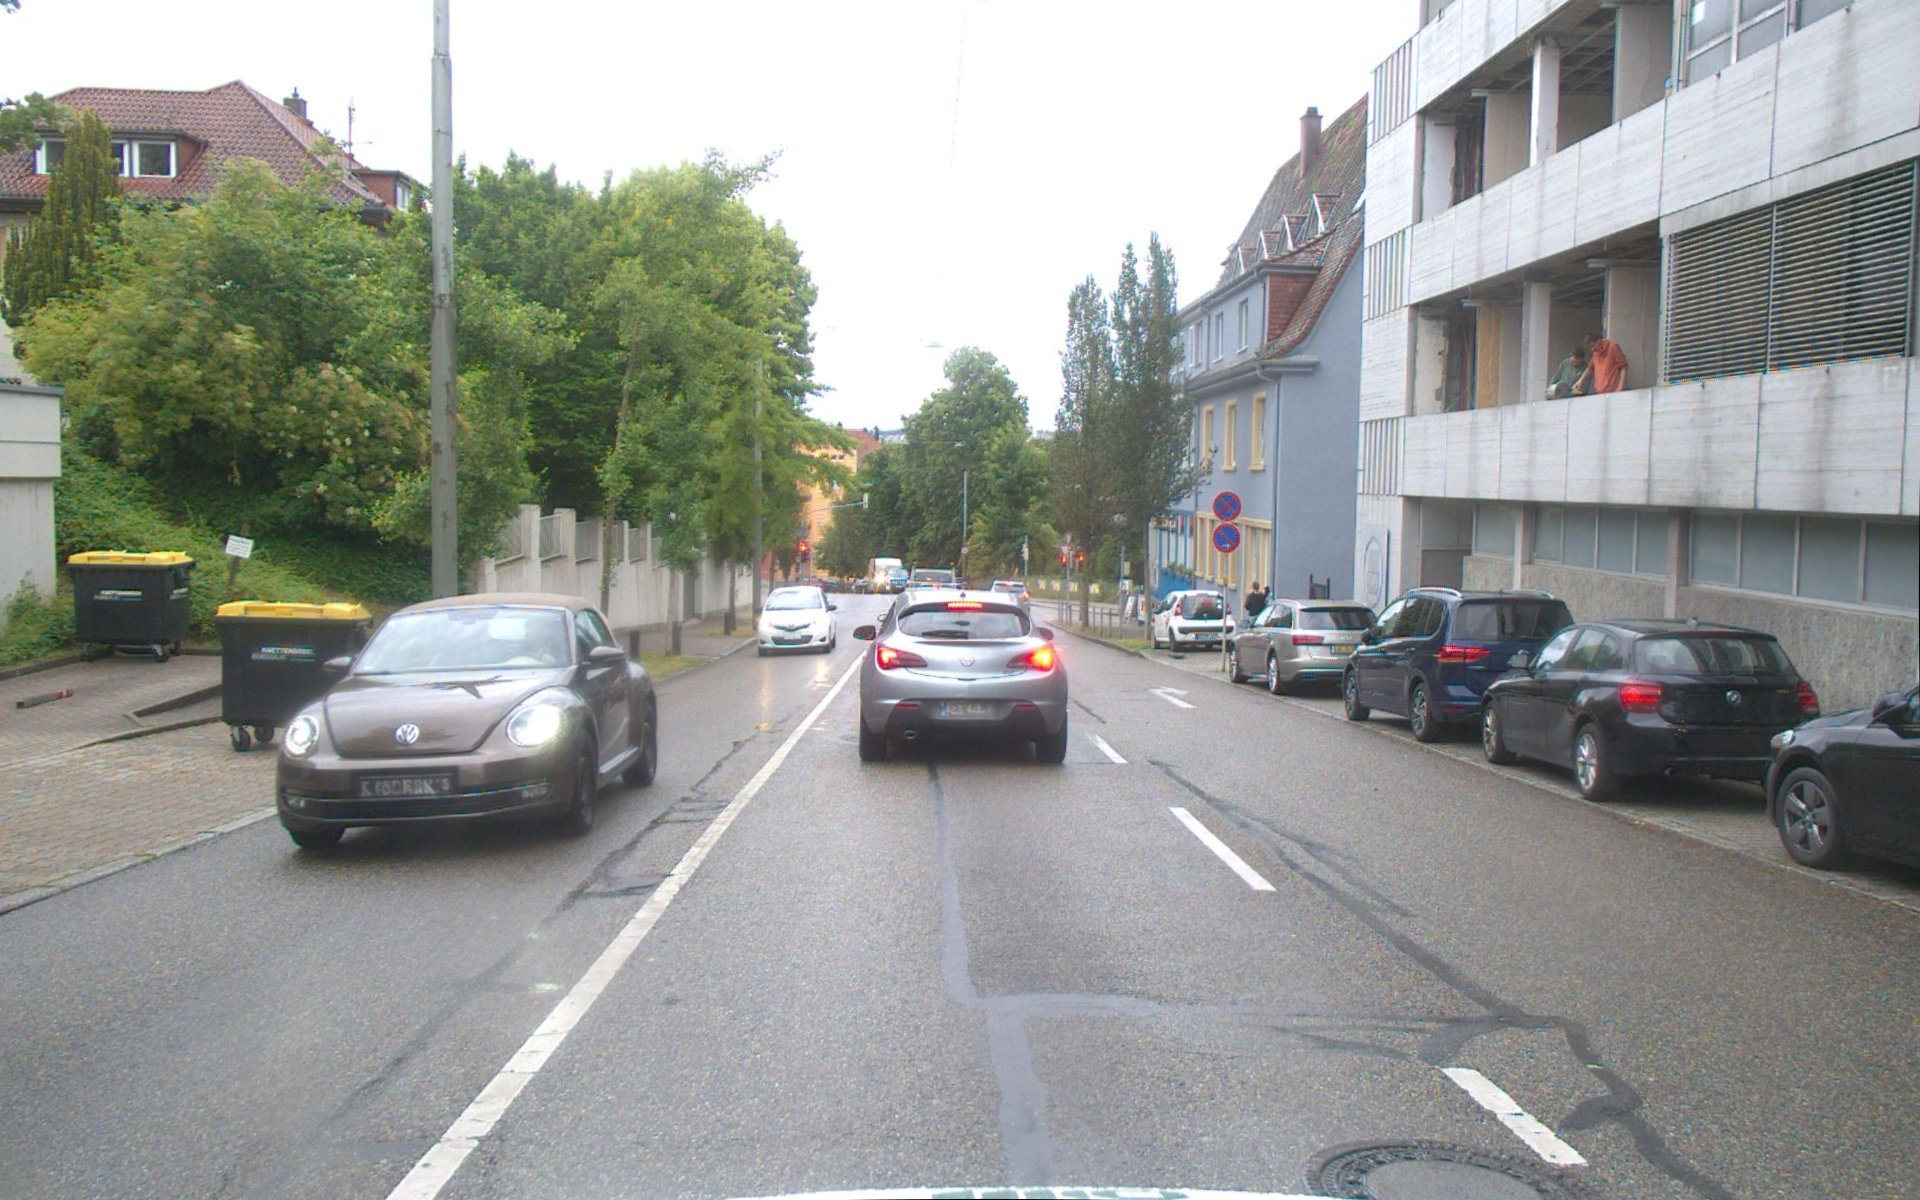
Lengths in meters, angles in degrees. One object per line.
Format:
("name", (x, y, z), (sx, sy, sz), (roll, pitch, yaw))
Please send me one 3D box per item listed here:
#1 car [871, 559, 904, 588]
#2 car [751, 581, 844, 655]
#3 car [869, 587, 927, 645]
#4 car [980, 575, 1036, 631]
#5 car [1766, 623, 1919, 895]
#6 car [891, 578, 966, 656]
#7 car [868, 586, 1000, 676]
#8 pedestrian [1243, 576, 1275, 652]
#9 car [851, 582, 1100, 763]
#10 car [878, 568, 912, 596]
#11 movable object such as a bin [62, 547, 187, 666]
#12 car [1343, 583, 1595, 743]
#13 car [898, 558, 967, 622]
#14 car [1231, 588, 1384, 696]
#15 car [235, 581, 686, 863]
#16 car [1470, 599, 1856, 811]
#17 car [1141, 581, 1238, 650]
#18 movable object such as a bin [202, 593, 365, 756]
("car", (-4.890, -1.792, 112.116), (1.953, 1.815, 4.000), (4, 1, -1))
("car", (-3.771, 0.386, 38.946), (1.786, 1.504, 3.863), (-3, 1, -1))
("car", (-2.048, 0.474, 53.525), (1.719, 1.679, 3.998), (4, 0, -3))
("car", (1.959, 0.083, 68.450), (1.953, 2.071, 4.734), (4, 1, -1))
("car", (6.018, 0.888, 8.700), (1.473, 1.460, 3.998), (0, 0, -3))
("car", (-0.880, 0.402, 43.525), (1.734, 1.811, 3.974), (4, 1, -3))
("car", (-0.506, 0.477, 27.522), (1.763, 1.346, 3.994), (2, 0, -7))
("pedestrian", (7.283, 0.338, 40.270), (0.632, 1.815, 0.542), (1, 1, -1))
("car", (0.010, 0.582, 15.483), (1.907, 1.457, 3.880), (1, 0, -6))
("car", (-4.126, -1.156, 105.914), (1.953, 1.562, 4.308), (4, 1, -1))
("movable object such as a bin", (-10.361, 0.073, 20.529), (1.247, 1.411, 0.488), (2, 1, -4))
("car", (5.739, 0.635, 19.139), (1.651, 1.598, 4.000), (0, 1, 0))
("car", (-0.993, -0.415, 59.740), (2.287, 2.071, 4.734), (4, 1, -1))
("car", (5.512, 0.607, 26.719), (1.552, 1.519, 4.290), (0, 1, 0))
("car", (-3.124, 0.663, 11.284), (1.812, 1.494, 4.087), (-2, 0, -1))
("car", (5.905, 0.791, 14.447), (1.647, 1.489, 4.000), (0, 1, 0))
("car", (5.716, 0.353, 41.667), (1.867, 1.598, 4.000), (0, 1, 0))
("movable object such as a bin", (-6.133, 0.670, 15.027), (1.247, 1.411, 0.488), (2, 1, -4))
